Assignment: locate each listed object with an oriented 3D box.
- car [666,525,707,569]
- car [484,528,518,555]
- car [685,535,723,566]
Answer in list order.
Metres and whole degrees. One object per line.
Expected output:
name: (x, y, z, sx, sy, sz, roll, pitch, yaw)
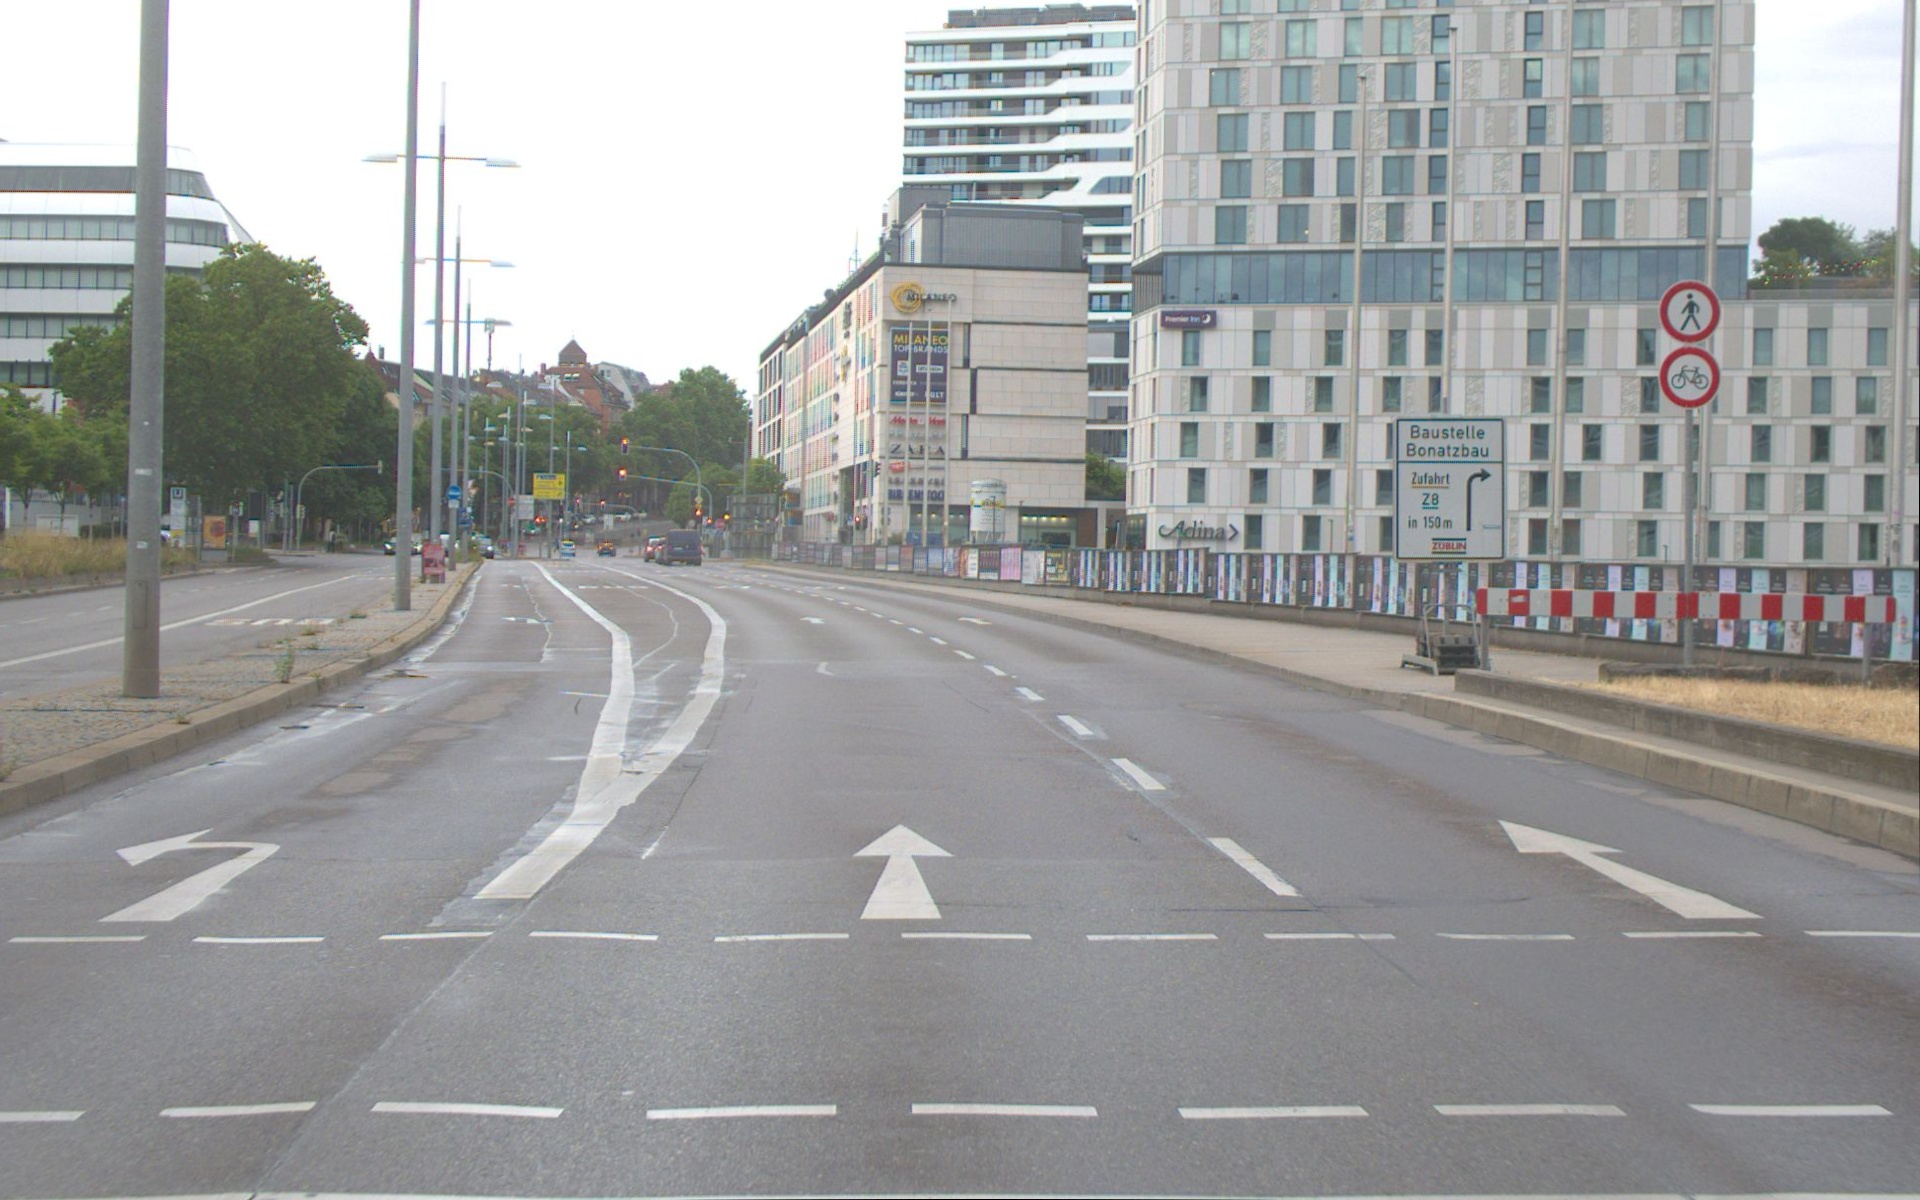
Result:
car: (-14.902, -2.871, 187.272, 1.993, 2.335, 4.000, 1, 1, -2)
car: (-32.413, -4.153, 242.936, 1.993, 1.776, 4.001, 0, 2, -2)
car: (-16.080, -3.126, 216.035, 1.993, 1.809, 4.000, 0, 2, 2)
